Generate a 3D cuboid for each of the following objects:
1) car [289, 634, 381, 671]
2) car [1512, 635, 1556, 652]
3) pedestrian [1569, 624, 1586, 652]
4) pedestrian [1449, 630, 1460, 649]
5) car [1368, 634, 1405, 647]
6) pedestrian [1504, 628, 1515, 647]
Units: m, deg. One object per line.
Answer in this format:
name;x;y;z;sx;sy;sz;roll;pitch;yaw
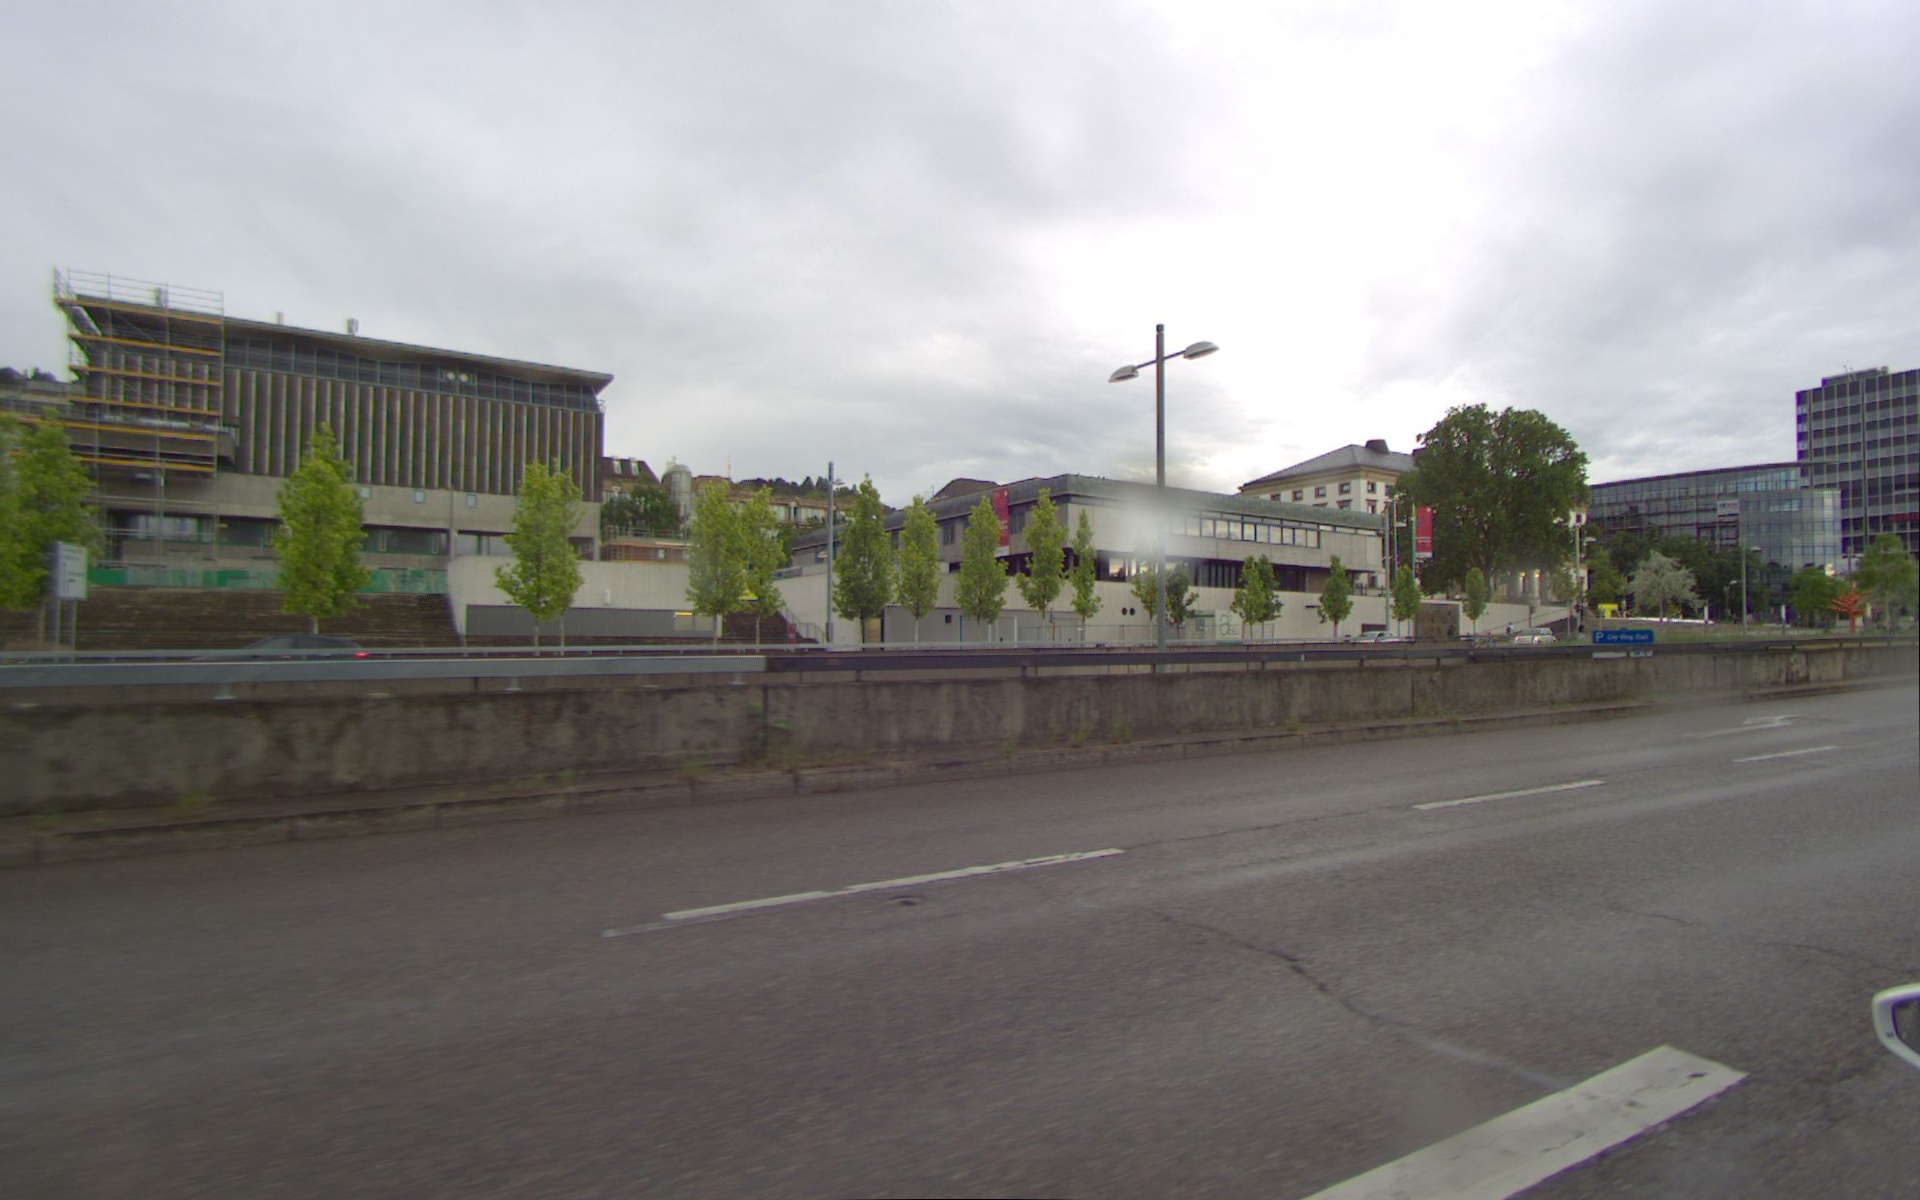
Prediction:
car;-17.609;1.457;28.341;2.174;0.990;0.965;1;-1;-34
car;39.521;2.986;69.143;2.988;1.129;1.432;2;-2;-33
pedestrian;47.511;2.932;77.284;0.716;2.120;0.765;-5;2;-24
pedestrian;35.689;2.847;72.527;0.570;1.401;0.465;2;-1;-29
car;25.313;2.414;59.629;2.529;0.755;0.813;2;-2;-36
pedestrian;43.479;2.962;79.463;0.625;1.441;0.490;2;-1;-26
